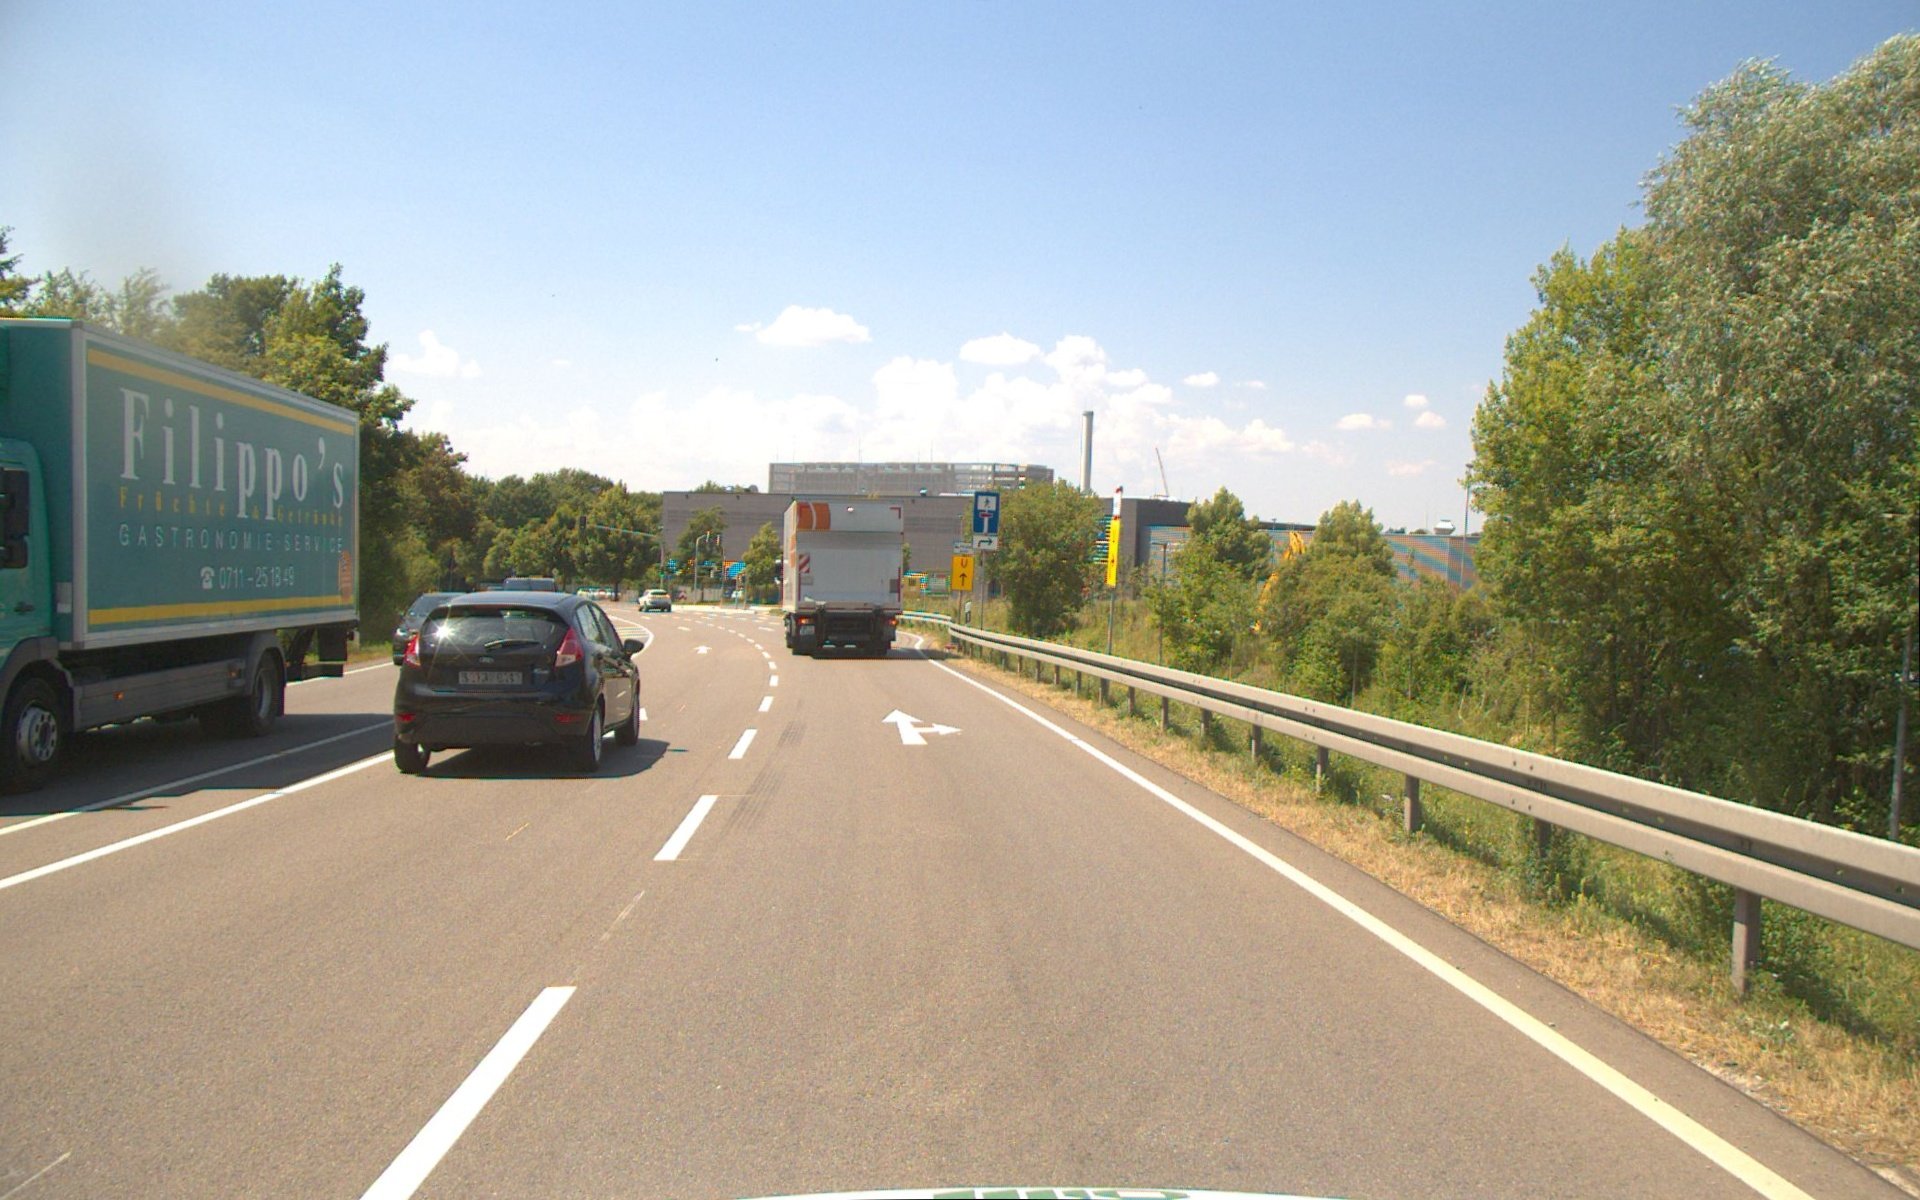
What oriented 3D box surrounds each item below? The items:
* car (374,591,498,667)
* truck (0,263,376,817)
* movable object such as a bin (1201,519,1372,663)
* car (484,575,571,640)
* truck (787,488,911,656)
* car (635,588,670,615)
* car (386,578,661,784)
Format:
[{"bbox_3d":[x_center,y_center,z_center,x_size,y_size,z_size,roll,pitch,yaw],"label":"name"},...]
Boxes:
[{"bbox_3d":[-10.824,0.556,34.445,1.842,1.467,4.320,1,0,-9],"label":"car"},{"bbox_3d":[-8.093,-0.430,15.228,2.813,3.636,9.421,1,0,-5],"label":"truck"},{"bbox_3d":[13.199,-0.565,67.968,3.364,5.351,9.205,2,2,-12],"label":"movable object such as a bin"},{"bbox_3d":[-13.429,0.197,51.632,1.956,1.927,5.095,0,0,-7],"label":"car"},{"bbox_3d":[-3.006,-0.706,42.324,2.749,3.775,9.097,1,1,-6],"label":"truck"},{"bbox_3d":[-21.051,0.100,113.298,1.912,1.693,3.983,4,0,-16],"label":"car"},{"bbox_3d":[-3.805,0.613,15.082,1.620,1.519,4.205,2,1,-4],"label":"car"}]
